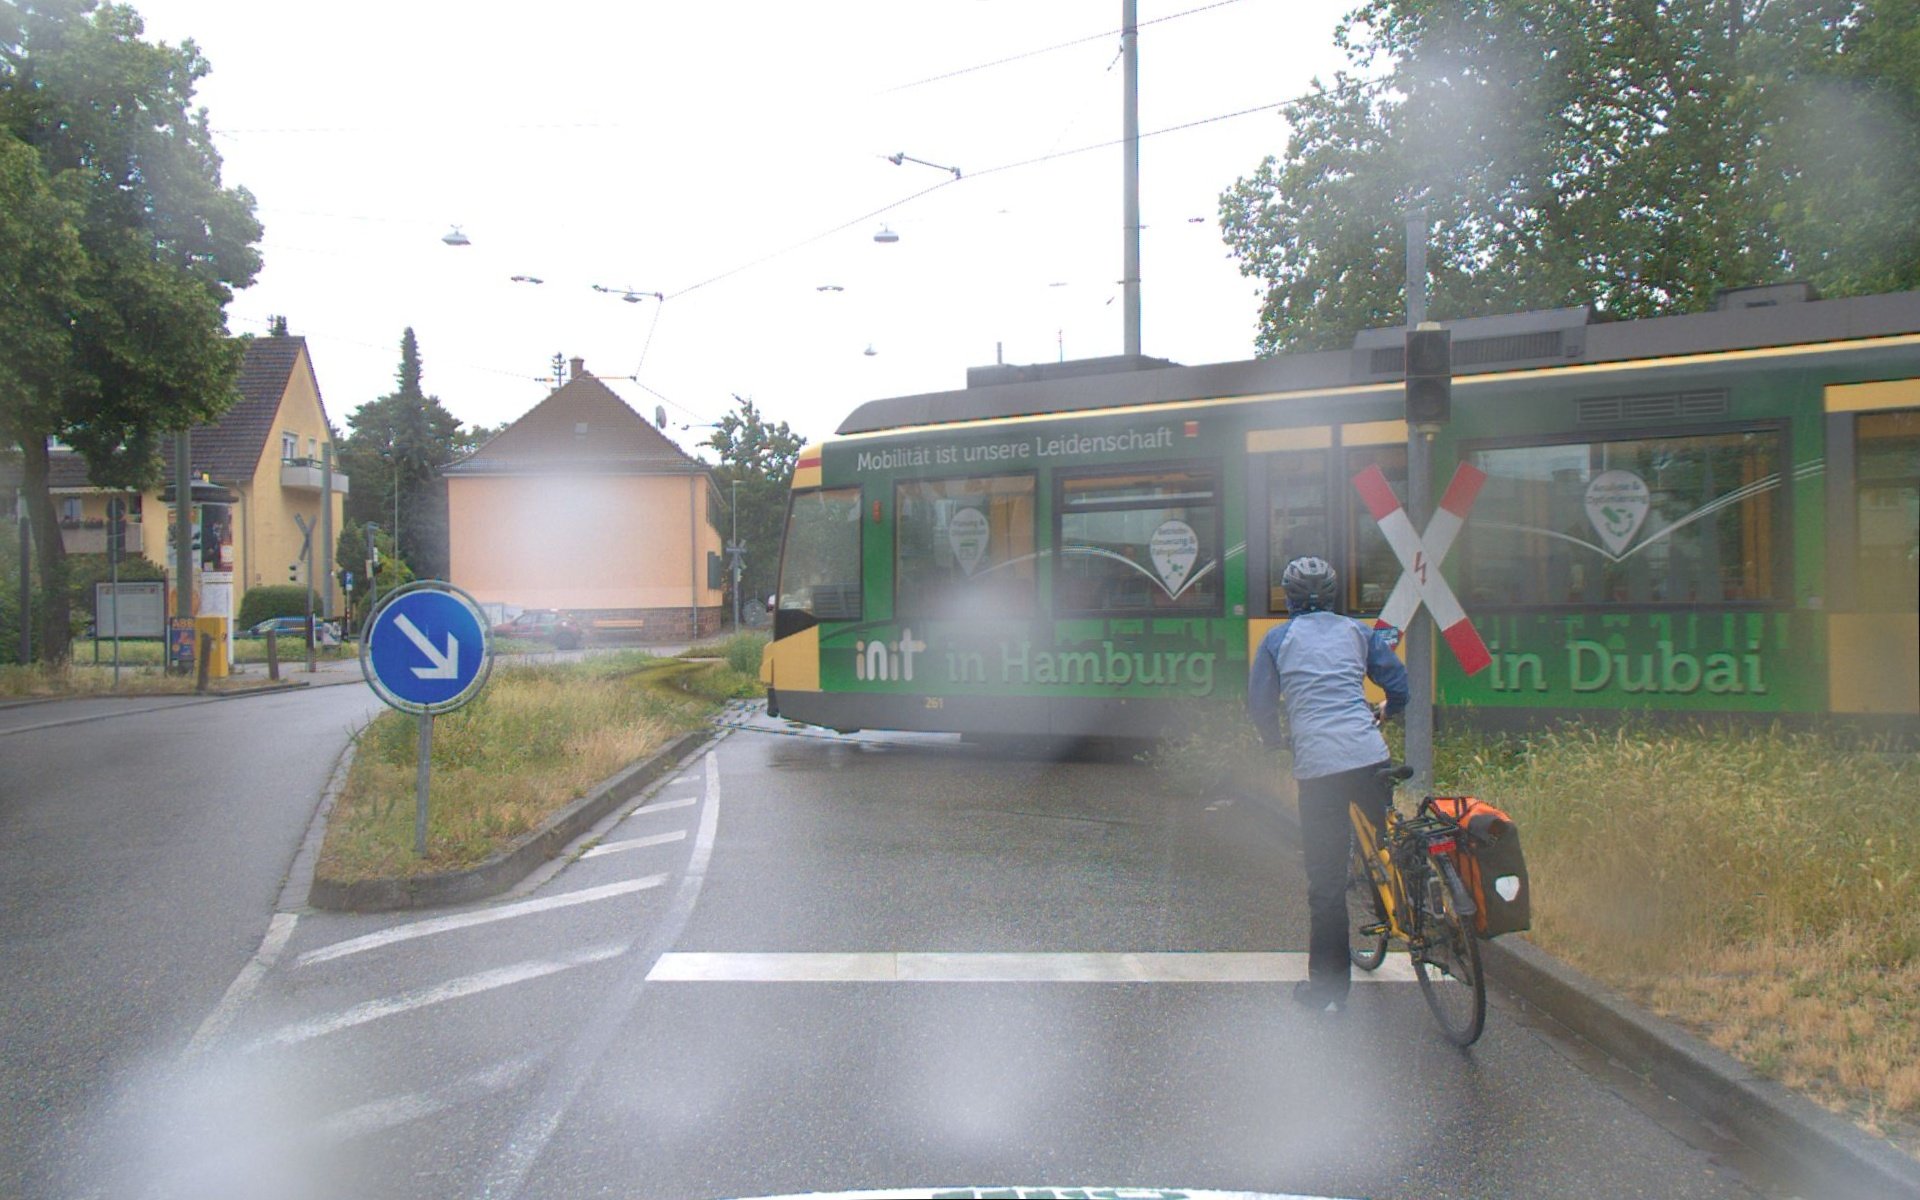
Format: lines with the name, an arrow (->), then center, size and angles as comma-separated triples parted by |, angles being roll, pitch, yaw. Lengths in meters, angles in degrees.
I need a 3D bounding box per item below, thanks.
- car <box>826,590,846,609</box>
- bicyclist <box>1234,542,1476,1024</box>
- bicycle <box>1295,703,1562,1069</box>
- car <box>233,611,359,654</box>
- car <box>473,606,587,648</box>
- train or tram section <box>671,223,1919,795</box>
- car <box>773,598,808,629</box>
car -> -12.306, -0.031, 164.456 | 1.768, 1.843, 3.998 | 1, 0, -3
bicyclist -> 1.435, 0.633, 6.137 | 0.653, 1.654, 0.852 | 1, -1, -2
bicycle -> 1.655, 0.957, 6.083 | 0.437, 1.022, 1.727 | -1, 1, -2
car -> -24.432, 1.191, 60.967 | 3.911, 1.482, 1.831 | 1, 0, -7
car -> -16.177, 1.009, 62.338 | 3.911, 1.482, 1.831 | 1, 0, -7
train or tram section -> 3.205, -0.482, 14.082 | 12.861, 3.615, 2.761 | -2, 0, 34
car -> -9.785, 0.781, 95.551 | 1.768, 1.680, 3.998 | 1, 0, -3
